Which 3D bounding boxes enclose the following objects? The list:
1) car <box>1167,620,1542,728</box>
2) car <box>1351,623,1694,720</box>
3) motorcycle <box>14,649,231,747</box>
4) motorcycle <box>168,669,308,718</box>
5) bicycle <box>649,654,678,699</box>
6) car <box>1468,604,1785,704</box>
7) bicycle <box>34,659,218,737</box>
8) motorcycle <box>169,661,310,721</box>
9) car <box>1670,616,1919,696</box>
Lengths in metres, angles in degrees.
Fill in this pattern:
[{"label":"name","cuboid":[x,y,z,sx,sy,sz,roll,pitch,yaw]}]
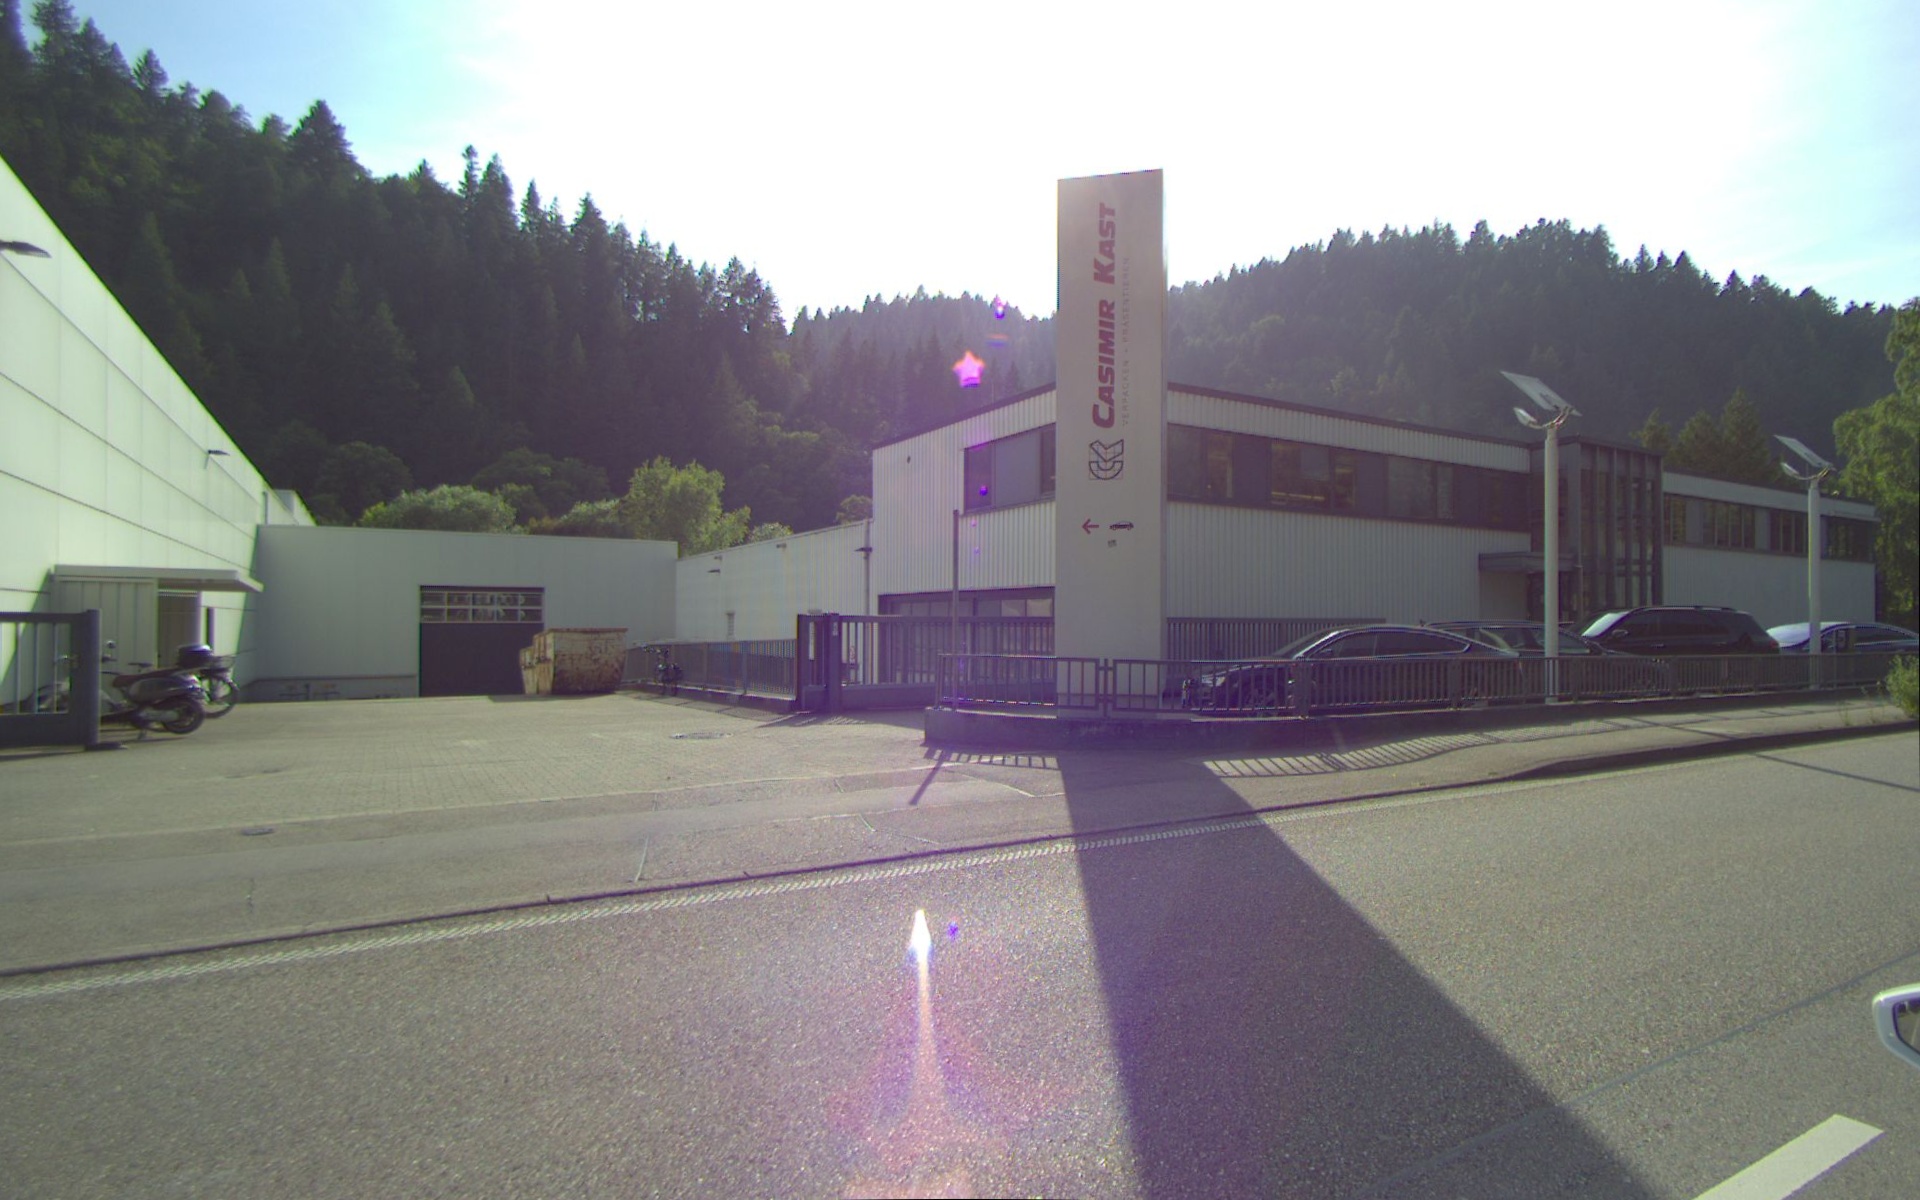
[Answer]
[{"label":"car","cuboid":[5.420,0.999,14.190,4.641,1.393,1.712,0,-1,0]},{"label":"car","cuboid":[9.021,1.123,16.372,4.641,1.458,1.712,0,-1,0]},{"label":"motorcycle","cuboid":[-10.701,1.230,12.935,2.064,1.168,0.510,1,-2,-31]},{"label":"motorcycle","cuboid":[-12.703,1.634,17.735,1.955,0.770,0.489,1,-2,-31]},{"label":"bicycle","cuboid":[-6.958,1.766,23.538,0.283,0.990,1.671,1,-2,-29]},{"label":"car","cuboid":[12.405,0.985,18.955,4.596,1.765,2.001,-1,-1,3]},{"label":"bicycle","cuboid":[-11.589,1.347,14.034,1.889,1.003,0.510,1,-2,-31]},{"label":"motorcycle","cuboid":[-12.326,1.537,17.259,1.905,0.944,0.511,1,-2,-31]},{"label":"car","cuboid":[18.521,1.192,21.930,4.761,1.582,1.998,2,-1,-6]}]
